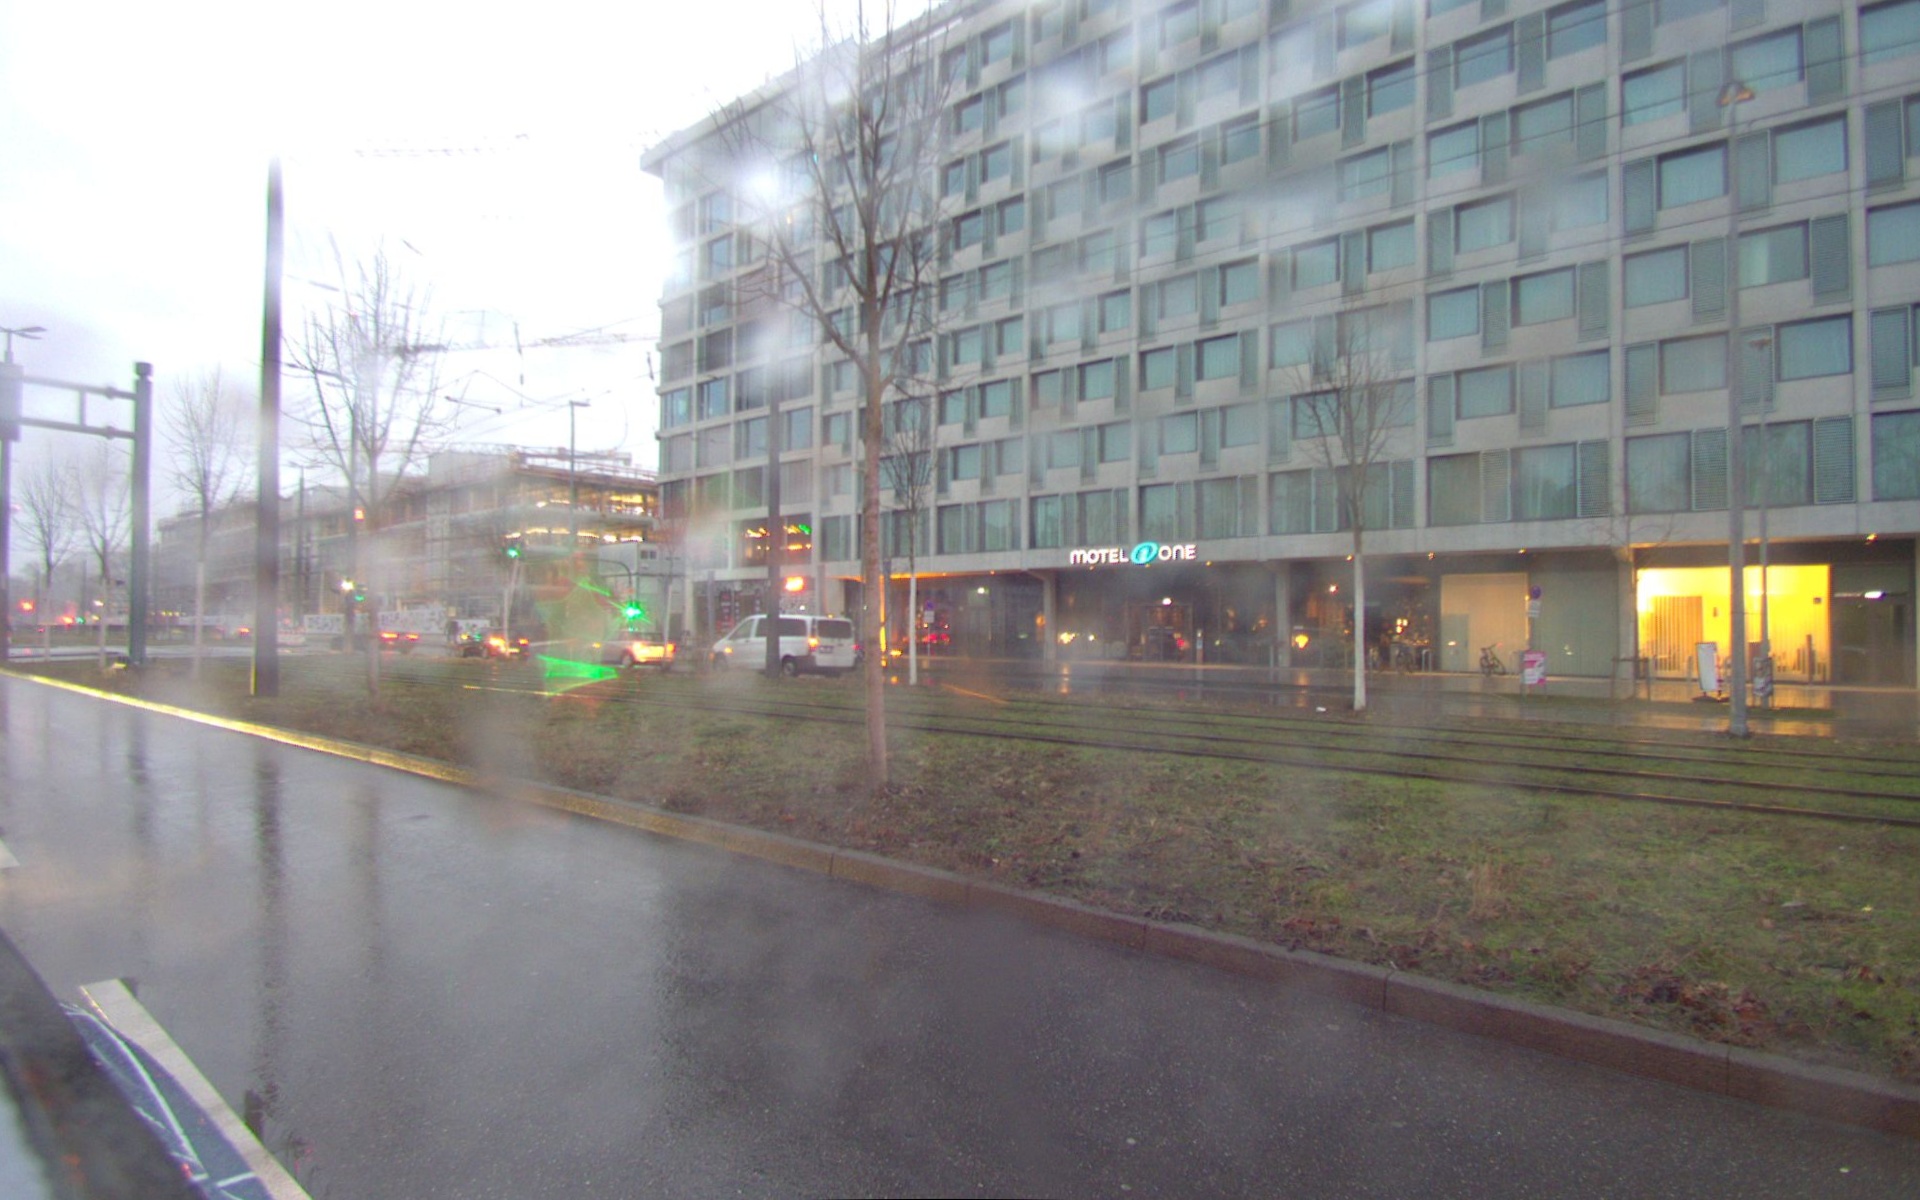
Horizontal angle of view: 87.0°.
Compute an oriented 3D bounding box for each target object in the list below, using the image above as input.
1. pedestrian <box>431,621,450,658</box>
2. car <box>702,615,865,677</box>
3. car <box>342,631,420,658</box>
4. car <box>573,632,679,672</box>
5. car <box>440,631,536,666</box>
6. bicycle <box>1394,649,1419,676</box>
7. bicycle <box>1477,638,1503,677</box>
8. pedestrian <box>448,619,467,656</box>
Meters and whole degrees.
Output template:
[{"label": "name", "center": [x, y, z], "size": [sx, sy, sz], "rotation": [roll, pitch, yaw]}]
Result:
[{"label": "pedestrian", "center": [-26.059, 1.990, 50.741], "size": [0.699, 1.818, 0.771], "rotation": [-1, 0, -39]}, {"label": "car", "center": [-5.285, 1.335, 29.887], "size": [5.041, 1.682, 2.060], "rotation": [-1, -3, 41]}, {"label": "car", "center": [-28.703, 2.199, 50.117], "size": [3.990, 1.284, 1.796], "rotation": [-1, -2, 34]}, {"label": "car", "center": [-11.920, 1.820, 36.003], "size": [3.998, 1.317, 1.793], "rotation": [-1, -3, 41]}, {"label": "car", "center": [-20.081, 2.034, 43.028], "size": [4.254, 1.411, 2.084], "rotation": [-1, -3, 40]}, {"label": "bicycle", "center": [15.803, 2.205, 35.798], "size": [0.465, 0.860, 1.332], "rotation": [-1, 0, 39]}, {"label": "bicycle", "center": [18.059, 1.933, 34.474], "size": [0.465, 1.247, 1.520], "rotation": [-1, 0, 39]}, {"label": "pedestrian", "center": [-25.311, 1.863, 51.005], "size": [0.699, 1.818, 0.771], "rotation": [-1, 0, -37]}]
